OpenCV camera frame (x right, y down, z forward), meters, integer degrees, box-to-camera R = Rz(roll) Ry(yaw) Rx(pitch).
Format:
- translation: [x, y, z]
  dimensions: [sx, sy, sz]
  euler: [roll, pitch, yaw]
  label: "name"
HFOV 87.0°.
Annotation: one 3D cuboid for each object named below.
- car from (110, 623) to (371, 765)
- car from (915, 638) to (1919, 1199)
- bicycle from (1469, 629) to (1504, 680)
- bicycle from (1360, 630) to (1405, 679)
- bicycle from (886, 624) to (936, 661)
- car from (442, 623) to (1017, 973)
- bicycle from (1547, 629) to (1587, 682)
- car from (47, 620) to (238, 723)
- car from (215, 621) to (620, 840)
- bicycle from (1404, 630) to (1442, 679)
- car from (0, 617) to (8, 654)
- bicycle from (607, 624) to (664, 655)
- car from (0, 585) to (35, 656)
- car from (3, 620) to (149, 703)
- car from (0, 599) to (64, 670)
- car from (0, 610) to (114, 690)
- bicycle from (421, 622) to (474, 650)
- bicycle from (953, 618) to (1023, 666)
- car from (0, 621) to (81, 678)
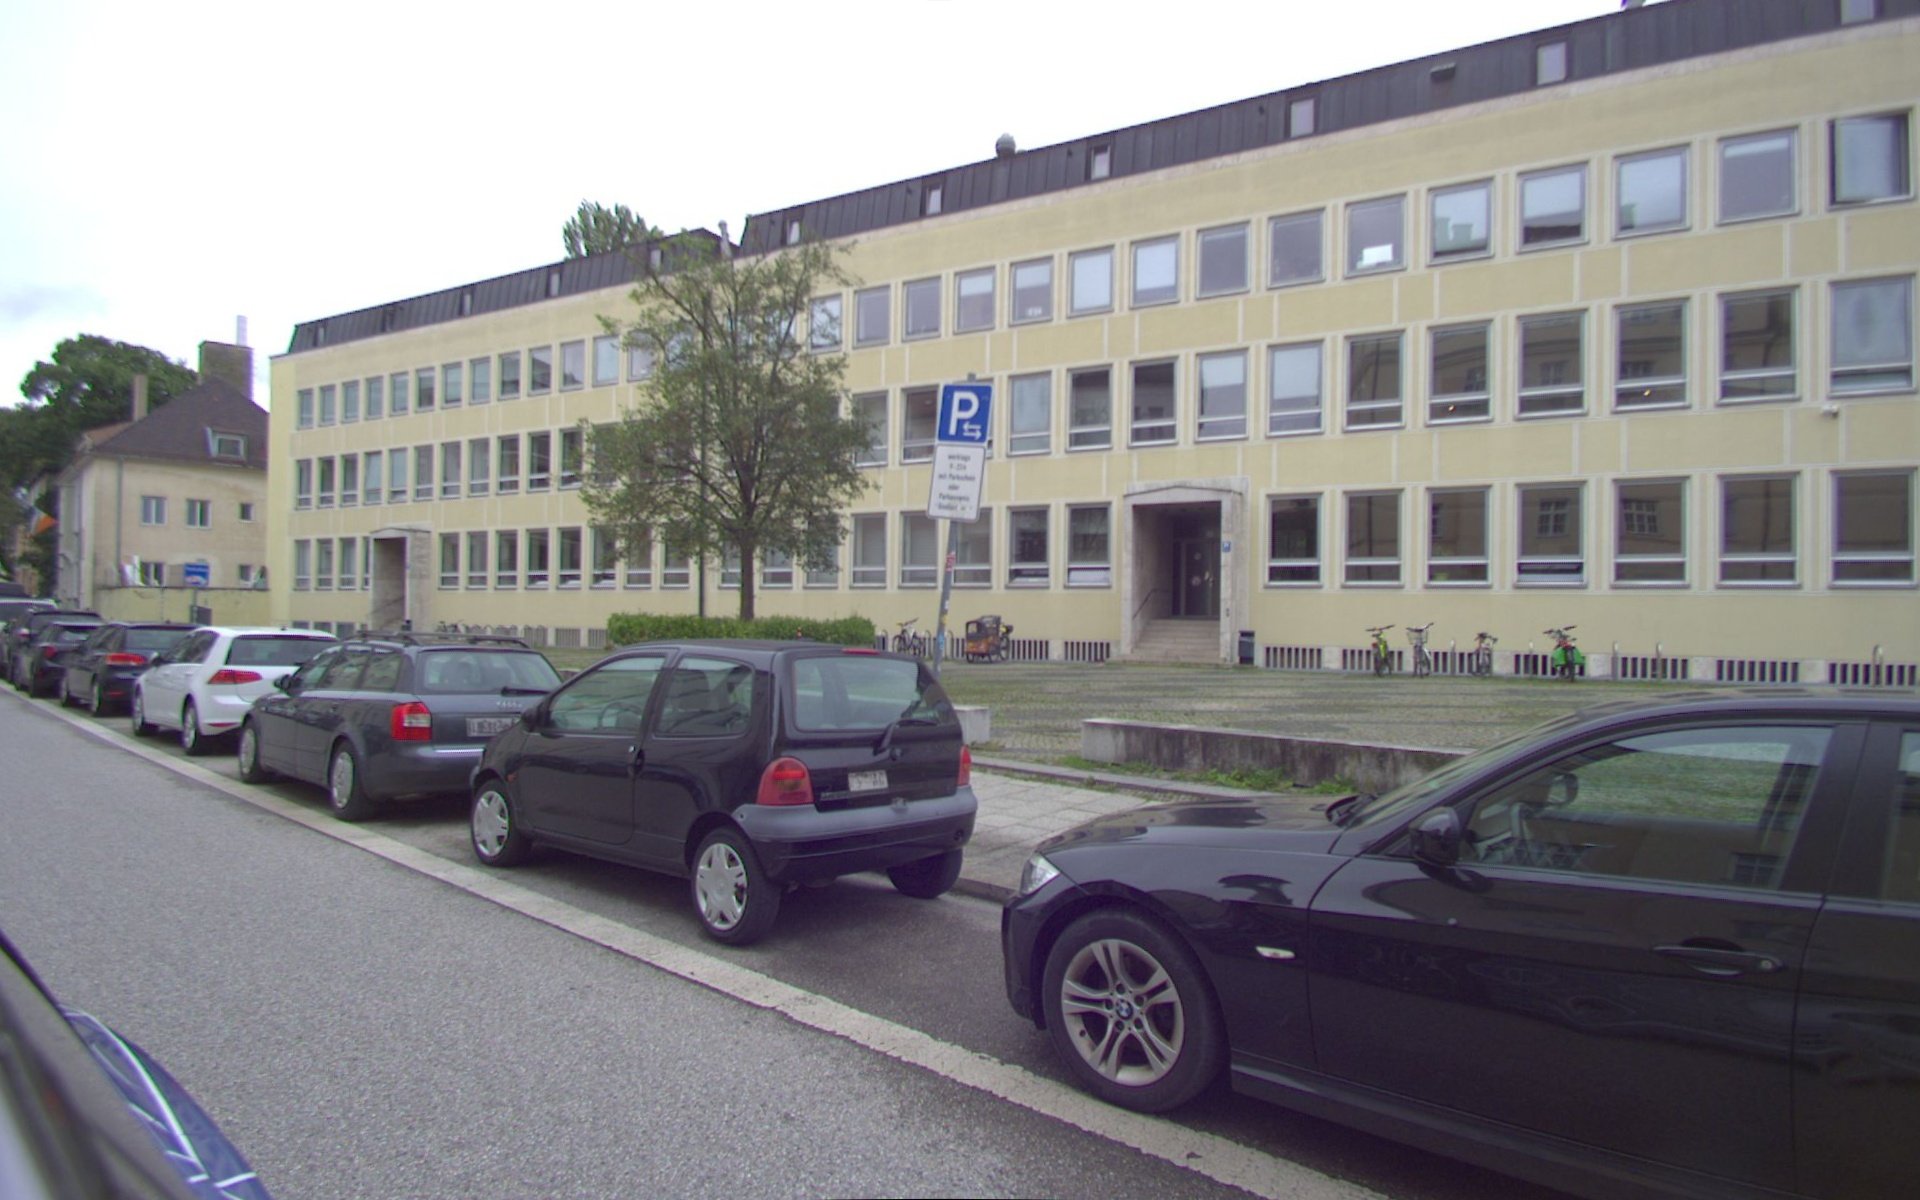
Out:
- translation: [-9.065, 1.061, 12.632]
  dimensions: [4.070, 1.465, 1.640]
  euler: [-1, -3, 40]
  label: "car"
- translation: [2.158, 0.871, 2.903]
  dimensions: [4.448, 1.416, 1.782]
  euler: [0, -3, 37]
  label: "car"
- translation: [11.429, 1.153, 21.945]
  dimensions: [0.623, 1.022, 1.934]
  euler: [-1, -1, 29]
  label: "bicycle"
- translation: [9.423, 1.198, 22.547]
  dimensions: [0.623, 1.022, 1.932]
  euler: [-1, -1, 32]
  label: "bicycle"
- translation: [-1.393, 1.213, 29.234]
  dimensions: [0.622, 1.022, 1.936]
  euler: [-1, -1, 25]
  label: "bicycle"
- translation: [-1.485, 0.907, 6.021]
  dimensions: [3.309, 1.465, 1.640]
  euler: [-1, -3, 40]
  label: "car"
- translation: [12.600, 1.128, 21.031]
  dimensions: [0.623, 1.022, 1.934]
  euler: [-1, -1, 29]
  label: "bicycle"
- translation: [-13.408, 1.101, 16.536]
  dimensions: [3.971, 1.465, 1.640]
  euler: [-1, -3, 40]
  label: "car"
- translation: [-4.983, 0.959, 9.006]
  dimensions: [4.394, 1.465, 1.736]
  euler: [-1, -3, 42]
  label: "car"
- translation: [10.204, 1.175, 22.264]
  dimensions: [0.623, 1.022, 1.934]
  euler: [-1, -1, 29]
  label: "bicycle"
- translation: [-41.902, 1.492, 42.938]
  dimensions: [3.486, 1.505, 1.685]
  euler: [0, -1, 39]
  label: "car"
- translation: [-11.259, 1.355, 35.161]
  dimensions: [0.623, 1.022, 1.931]
  euler: [-1, -1, 32]
  label: "bicycle"
- translation: [-38.021, 0.779, 39.615]
  dimensions: [5.655, 2.666, 2.271]
  euler: [-1, -3, 45]
  label: "car"
- translation: [-17.438, 1.153, 19.912]
  dimensions: [3.869, 1.465, 1.662]
  euler: [-1, -3, 42]
  label: "car"
- translation: [-28.709, 1.003, 30.417]
  dimensions: [5.019, 1.994, 1.908]
  euler: [0, -3, 41]
  label: "car"
- translation: [-21.212, 1.133, 23.489]
  dimensions: [4.448, 1.679, 1.725]
  euler: [-1, -5, 42]
  label: "car"
- translation: [-20.045, 1.389, 39.630]
  dimensions: [0.578, 1.022, 1.936]
  euler: [-1, 0, 25]
  label: "bicycle"
- translation: [0.806, 1.116, 27.808]
  dimensions: [1.051, 1.258, 2.421]
  euler: [-1, -1, 26]
  label: "bicycle"
- translation: [-25.125, 1.285, 27.300]
  dimensions: [3.918, 1.398, 1.725]
  euler: [-1, -1, 43]
  label: "car"
